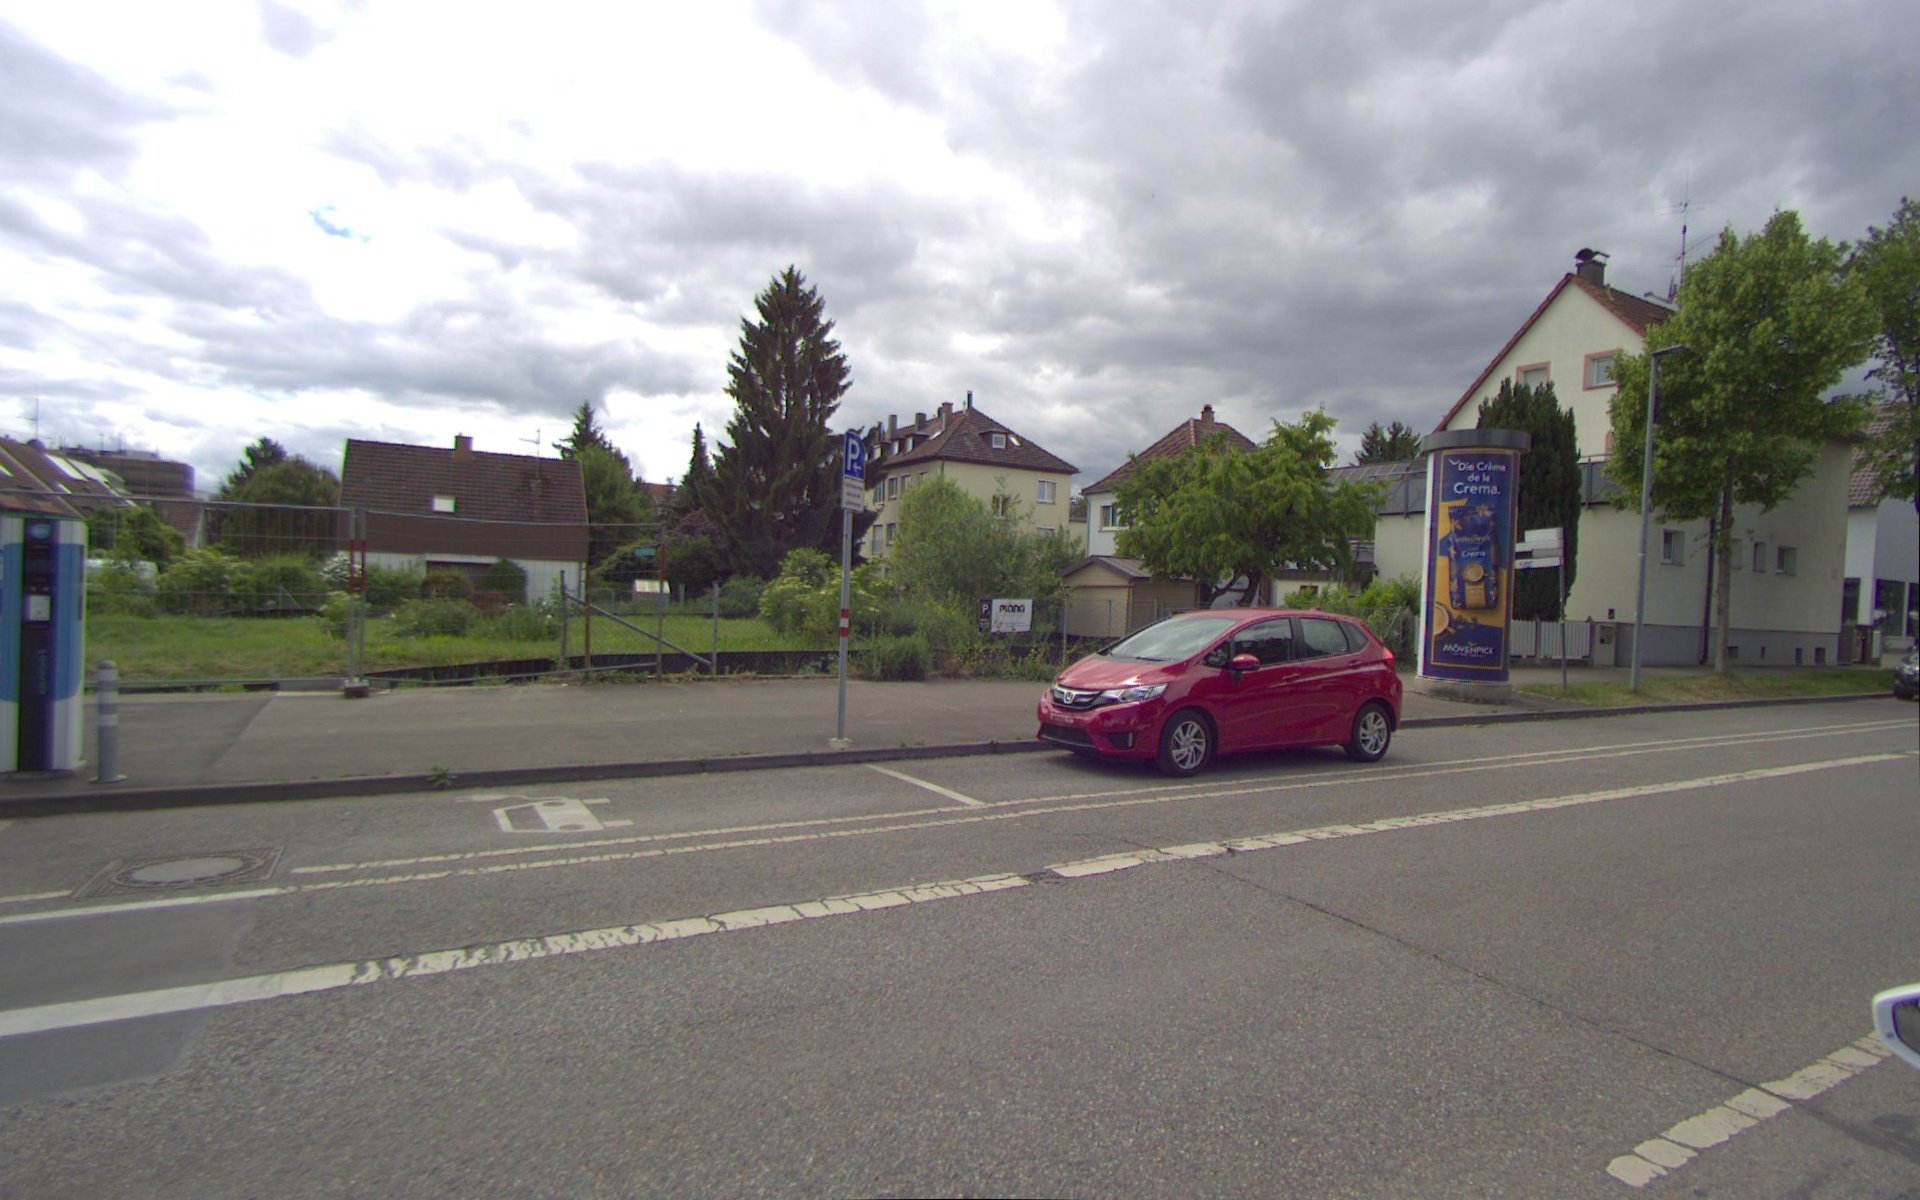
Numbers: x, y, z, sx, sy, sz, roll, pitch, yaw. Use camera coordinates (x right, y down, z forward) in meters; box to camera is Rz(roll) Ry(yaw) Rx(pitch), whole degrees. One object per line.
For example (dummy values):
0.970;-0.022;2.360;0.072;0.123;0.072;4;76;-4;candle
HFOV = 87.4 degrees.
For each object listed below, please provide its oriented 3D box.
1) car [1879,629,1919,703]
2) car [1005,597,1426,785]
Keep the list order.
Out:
21.696;1.427;21.536;4.250;1.488;1.723;2;0;-30;car
2.641;0.816;10.181;4.082;1.561;1.678;2;0;-29;car
